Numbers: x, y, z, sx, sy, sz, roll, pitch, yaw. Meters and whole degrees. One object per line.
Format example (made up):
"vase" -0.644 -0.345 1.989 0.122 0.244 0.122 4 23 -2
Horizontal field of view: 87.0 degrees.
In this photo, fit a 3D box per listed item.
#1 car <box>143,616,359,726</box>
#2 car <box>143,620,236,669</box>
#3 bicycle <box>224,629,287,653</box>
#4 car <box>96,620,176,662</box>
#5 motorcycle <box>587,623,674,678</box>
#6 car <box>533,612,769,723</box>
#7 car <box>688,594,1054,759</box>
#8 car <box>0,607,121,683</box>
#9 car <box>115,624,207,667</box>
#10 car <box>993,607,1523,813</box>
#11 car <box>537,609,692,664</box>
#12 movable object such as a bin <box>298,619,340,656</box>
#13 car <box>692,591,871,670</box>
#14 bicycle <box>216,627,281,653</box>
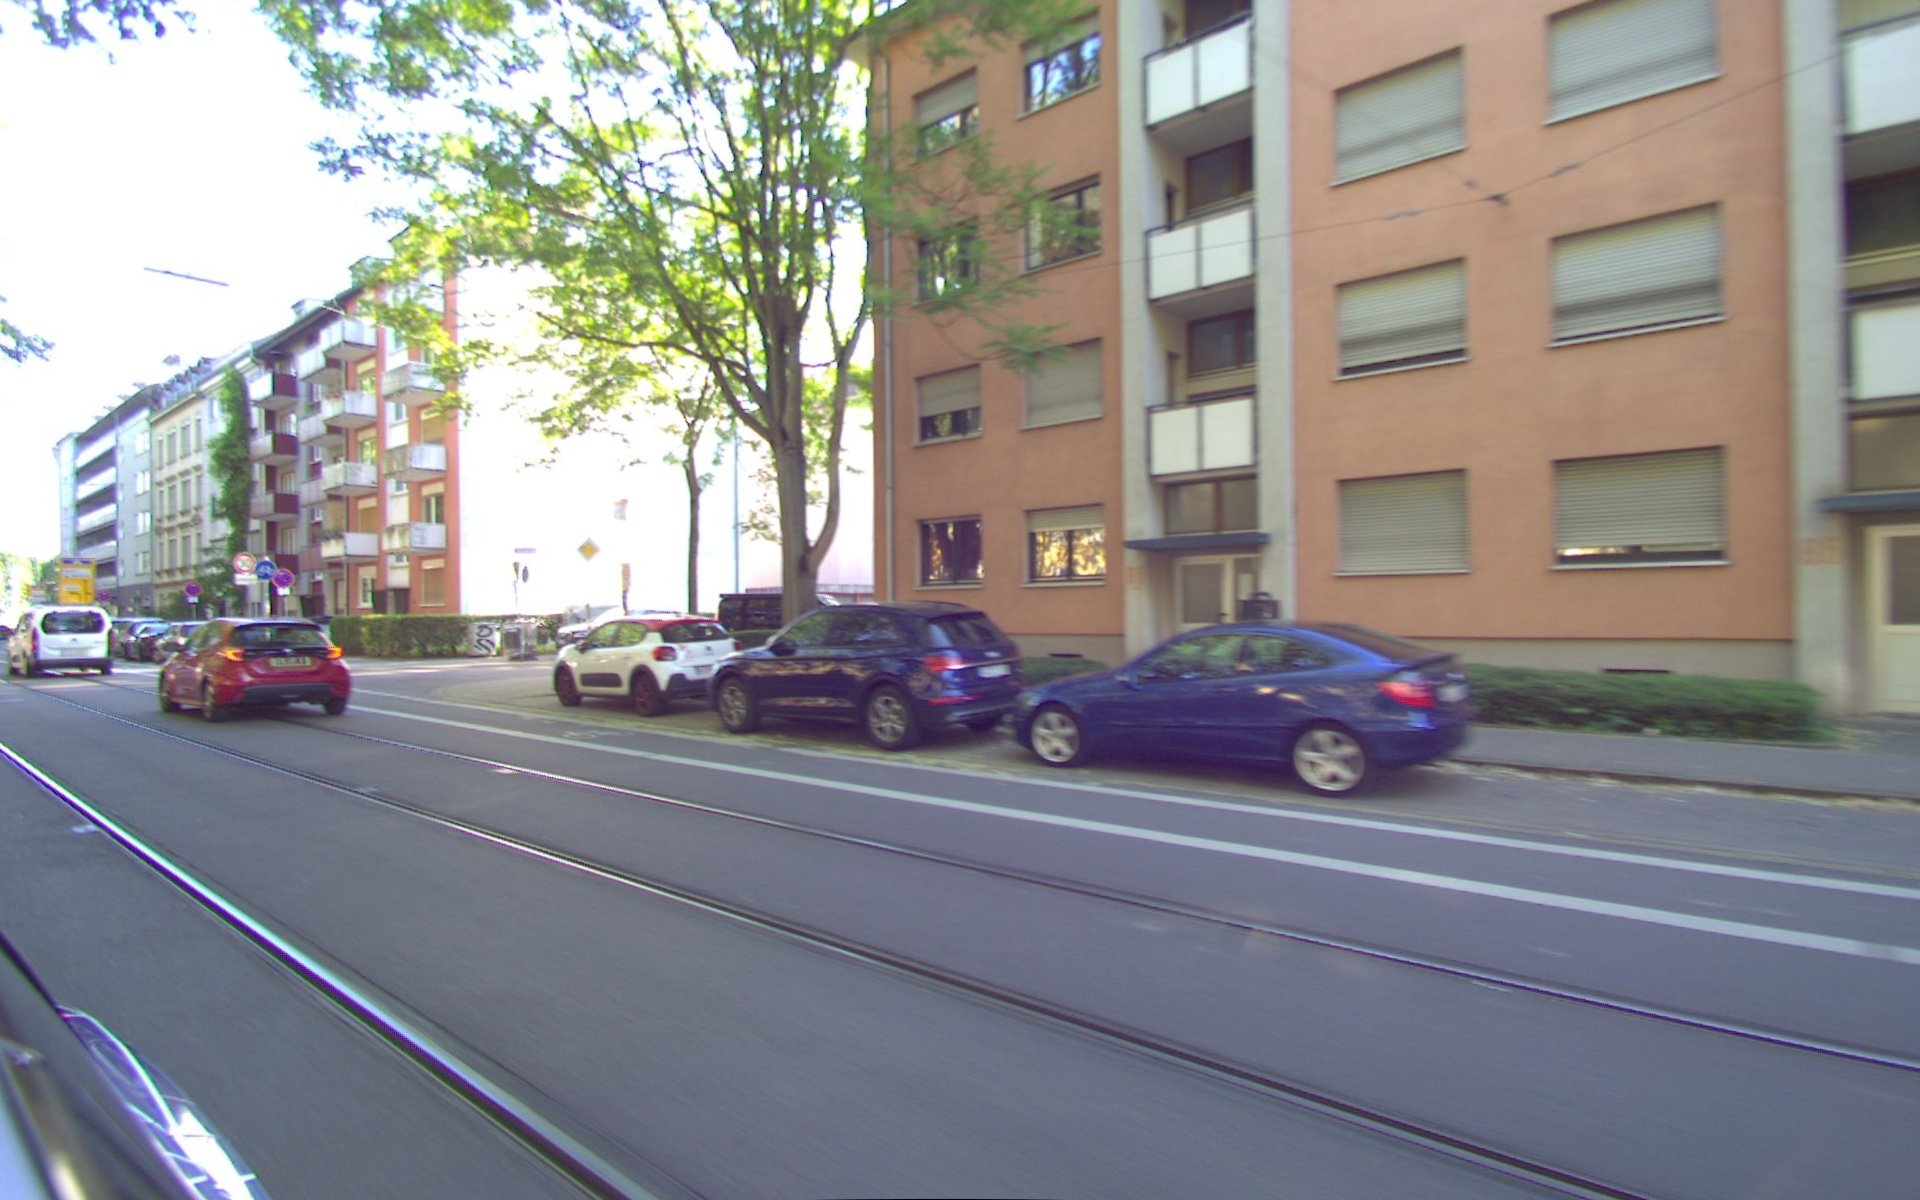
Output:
"car" -10.976 1.003 15.564 4.200 1.469 1.757 -1 -2 41
"car" -26.538 1.495 34.833 3.927 1.494 1.708 -1 1 40
"bicycle" -32.875 1.901 47.251 0.698 1.000 2.268 -2 1 38
"car" -34.270 1.691 42.055 4.001 1.599 1.801 -2 0 39
"motorcycle" -8.183 1.264 25.073 2.346 1.290 0.893 -4 -3 39
"car" -5.089 0.989 16.409 4.089 1.489 1.787 -1 1 42
"car" -1.248 0.828 12.557 4.584 1.622 1.763 -2 2 40
"car" -24.145 1.144 27.060 4.893 1.846 1.872 -1 -1 41
"car" -30.431 1.691 38.477 4.862 1.405 1.932 -2 2 42
"car" 2.569 0.845 9.395 4.379 1.411 1.721 -2 1 40
"car" -11.335 1.141 33.414 1.937 1.618 4.485 0 0 41
"movable object such as a bin" -24.167 1.401 38.151 0.747 1.375 1.198 -2 -2 42
"car" -5.101 0.855 29.143 4.676 2.139 1.992 -1 0 13
"bicycle" -33.734 1.901 48.016 0.698 1.070 2.427 -2 1 38
